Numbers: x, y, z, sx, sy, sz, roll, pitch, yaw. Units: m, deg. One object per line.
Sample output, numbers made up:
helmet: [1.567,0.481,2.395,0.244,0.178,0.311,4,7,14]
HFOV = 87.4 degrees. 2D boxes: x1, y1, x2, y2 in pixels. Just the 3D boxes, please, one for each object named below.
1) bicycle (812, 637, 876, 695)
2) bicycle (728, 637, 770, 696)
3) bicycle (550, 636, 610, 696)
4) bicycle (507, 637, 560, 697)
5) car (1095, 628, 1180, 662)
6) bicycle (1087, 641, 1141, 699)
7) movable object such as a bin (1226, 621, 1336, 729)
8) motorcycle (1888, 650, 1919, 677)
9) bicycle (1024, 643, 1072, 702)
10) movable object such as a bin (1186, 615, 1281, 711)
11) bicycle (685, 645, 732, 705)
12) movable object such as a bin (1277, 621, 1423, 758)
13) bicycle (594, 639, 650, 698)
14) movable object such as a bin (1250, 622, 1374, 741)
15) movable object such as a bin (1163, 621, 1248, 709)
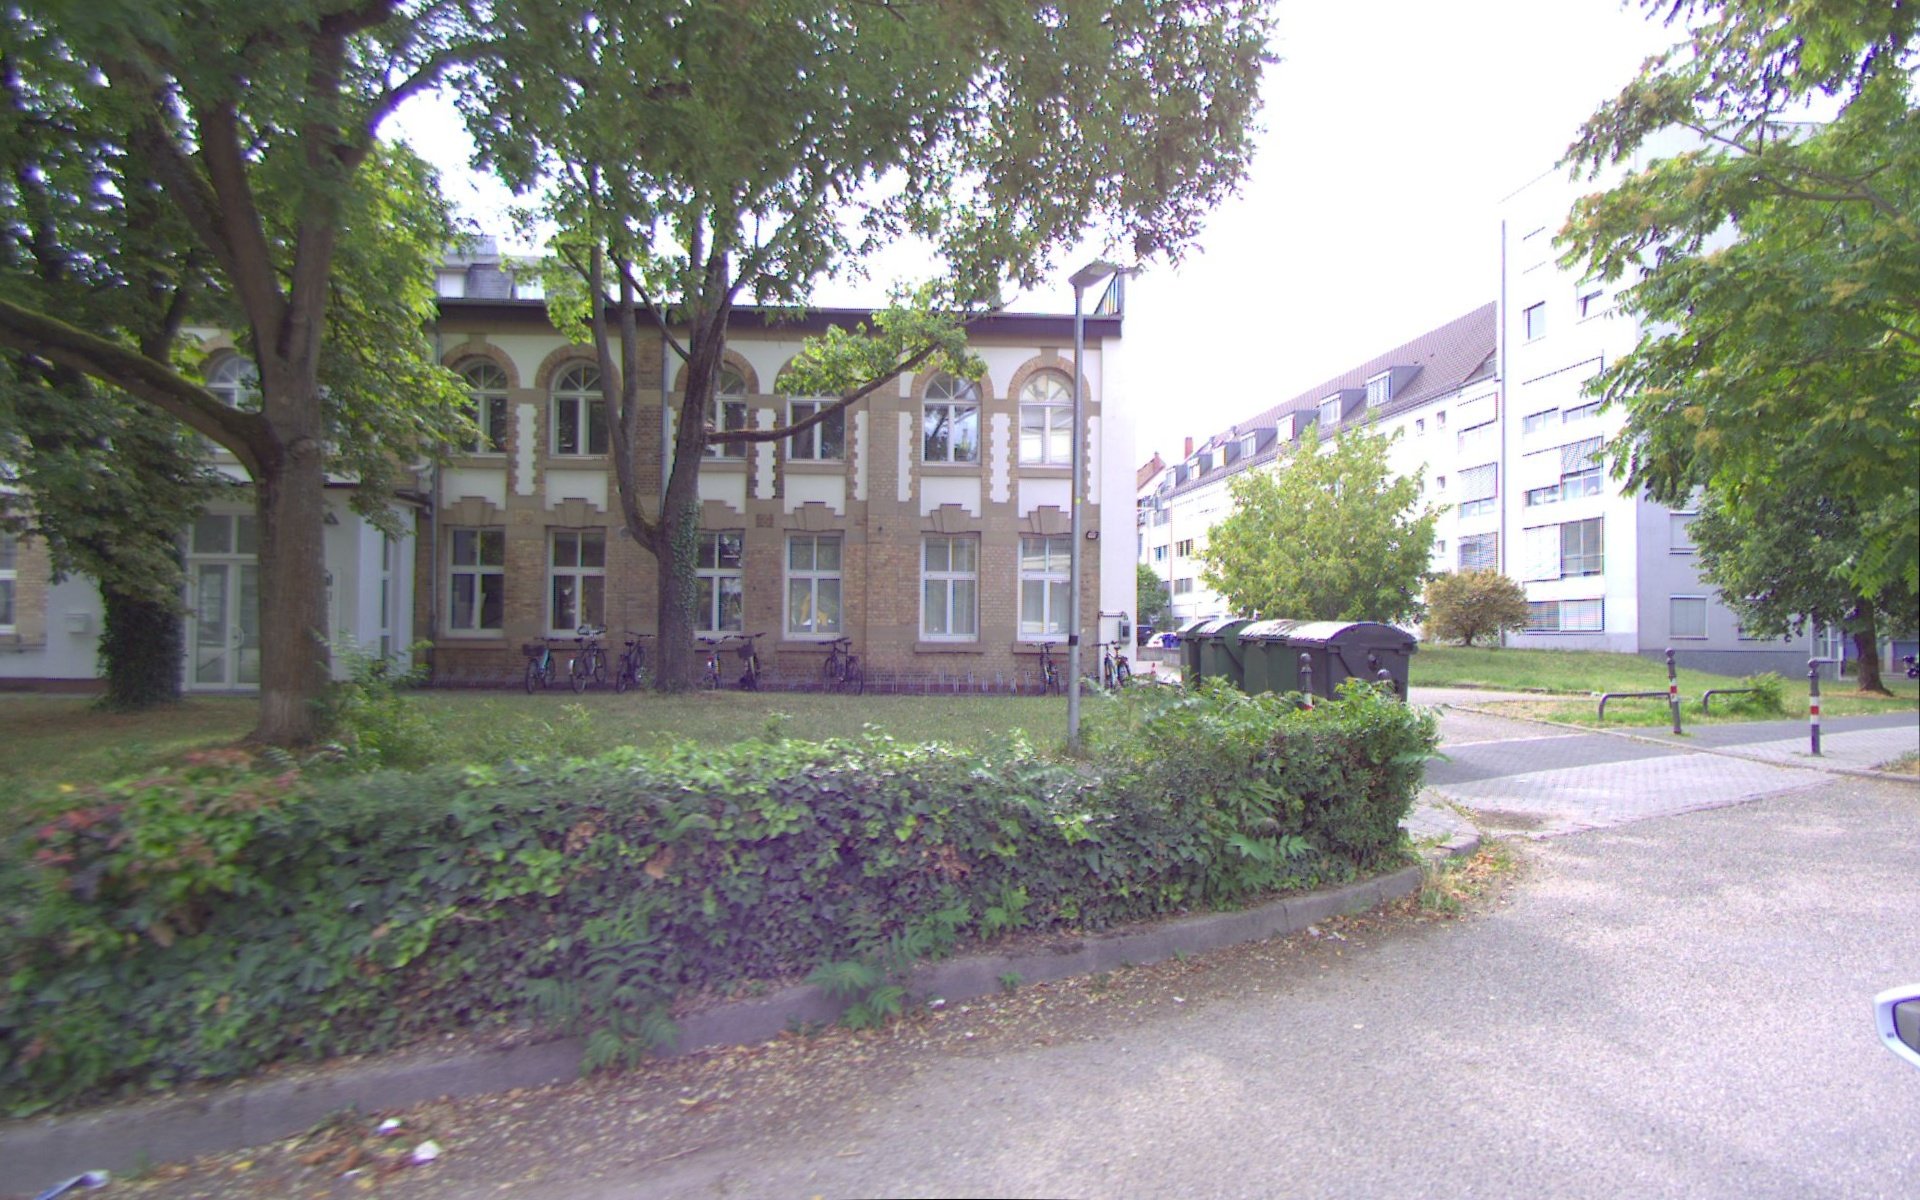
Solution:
bicycle: [-2.335,1.286,20.001,0.587,1.057,1.963,0,-1,-29]
bicycle: [-4.071,1.269,19.523,0.583,1.057,1.976,0,-1,-6]
bicycle: [-7.265,1.240,19.283,0.583,1.057,1.976,0,-1,-6]
bicycle: [-8.171,1.253,19.312,0.584,1.057,1.973,0,-1,-13]
car: [8.428,2.126,47.956,3.919,1.515,2.001,0,-1,9]
bicycle: [3.047,1.376,20.057,0.583,1.057,1.976,0,-1,-6]
movable object such as a bin: [4.517,1.033,14.245,1.101,1.449,1.283,0,-1,-3]
motorcycle: [46.268,3.080,48.682,2.106,1.307,0.668,0,-1,-5]
bicycle: [1.724,1.407,19.884,0.583,1.057,1.976,0,-1,-6]
movable object such as a bin: [4.284,0.974,15.845,1.101,1.449,1.283,0,-1,-3]
bicycle: [-4.834,1.412,19.400,0.583,1.057,1.976,0,-1,-6]
movable object such as a bin: [4.354,0.963,11.323,1.101,1.449,1.283,0,-1,-3]
bicycle: [-6.502,1.293,19.397,0.583,1.057,1.976,0,-1,-6]
movable object such as a bin: [4.478,1.005,12.877,1.101,1.449,1.283,0,-1,-3]
movable object such as a bin: [4.187,1.093,17.229,1.101,1.449,1.283,0,-1,-3]
